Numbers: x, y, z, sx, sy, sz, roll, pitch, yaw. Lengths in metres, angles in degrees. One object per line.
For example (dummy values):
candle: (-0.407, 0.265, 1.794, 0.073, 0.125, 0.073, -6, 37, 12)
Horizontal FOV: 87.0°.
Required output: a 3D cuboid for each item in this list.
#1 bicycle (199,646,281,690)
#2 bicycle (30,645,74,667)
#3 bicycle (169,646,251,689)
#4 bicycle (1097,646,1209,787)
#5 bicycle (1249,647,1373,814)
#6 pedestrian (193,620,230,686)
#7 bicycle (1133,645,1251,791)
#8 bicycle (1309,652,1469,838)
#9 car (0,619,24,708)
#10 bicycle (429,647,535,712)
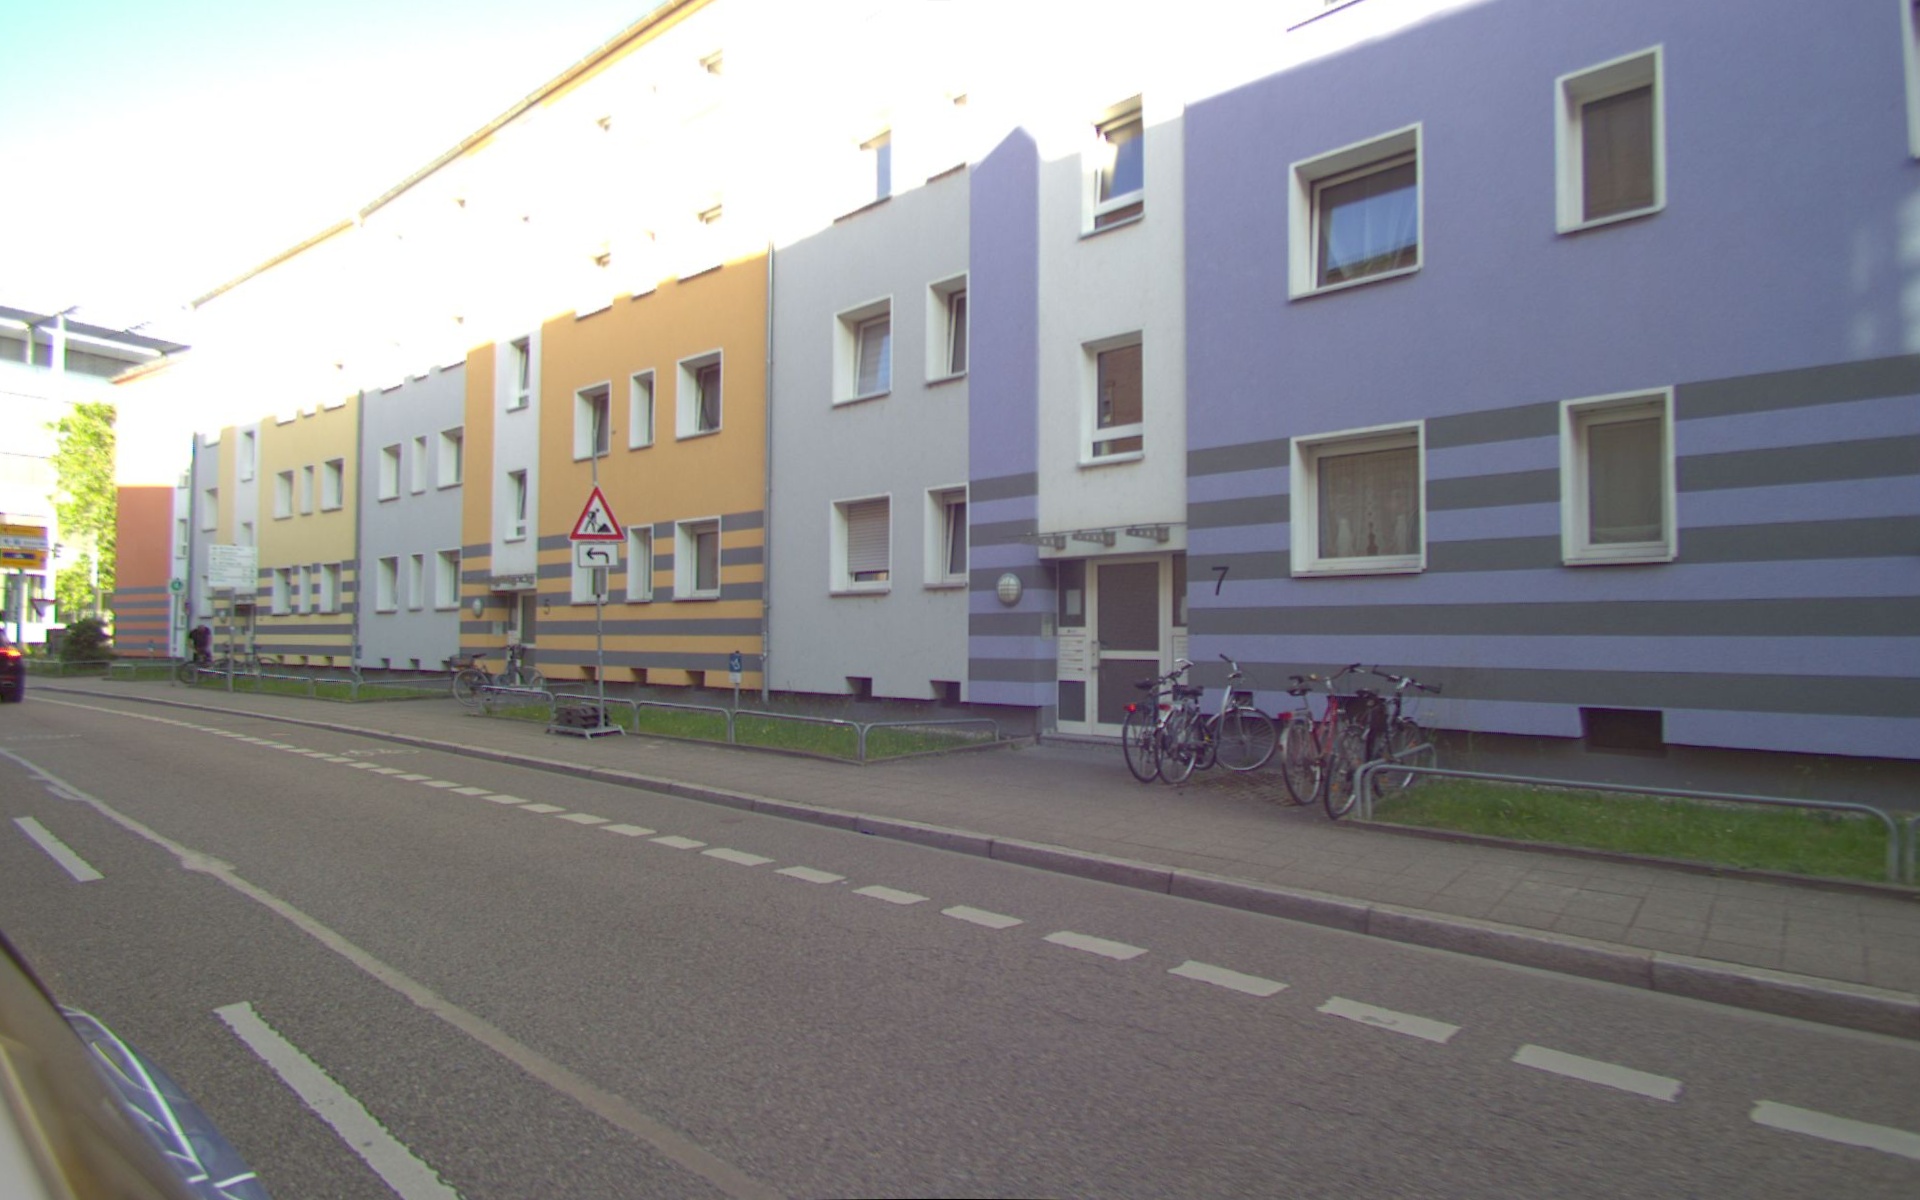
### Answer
bicycle: (-19.972, 1.867, 28.115, 0.648, 1.154, 1.738, -1, -3, 31)
bicycle: (-50.198, 3.094, 55.956, 1.965, 1.191, 0.470, 0, -2, 1)
bicycle: (-21.251, 1.896, 28.711, 0.648, 1.154, 1.738, -1, -3, 31)
bicycle: (1.896, 1.078, 9.816, 0.384, 1.251, 1.564, -2, -3, 38)
bicycle: (2.984, 1.031, 8.517, 0.466, 1.251, 1.623, -2, -3, 38)
pedestrian: (-21.463, 1.520, 29.035, 0.709, 1.869, 0.872, 1, -3, -29)
bicycle: (2.217, 1.056, 9.550, 0.448, 1.251, 1.569, -2, -3, 38)
bicycle: (3.388, 1.038, 7.881, 0.622, 1.241, 1.989, -2, -3, 38)
car: (-22.343, 1.335, 22.135, 5.088, 1.849, 1.881, -2, -5, 38)
bicycle: (-9.013, 1.476, 19.162, 0.648, 1.154, 1.738, -1, -3, 31)
